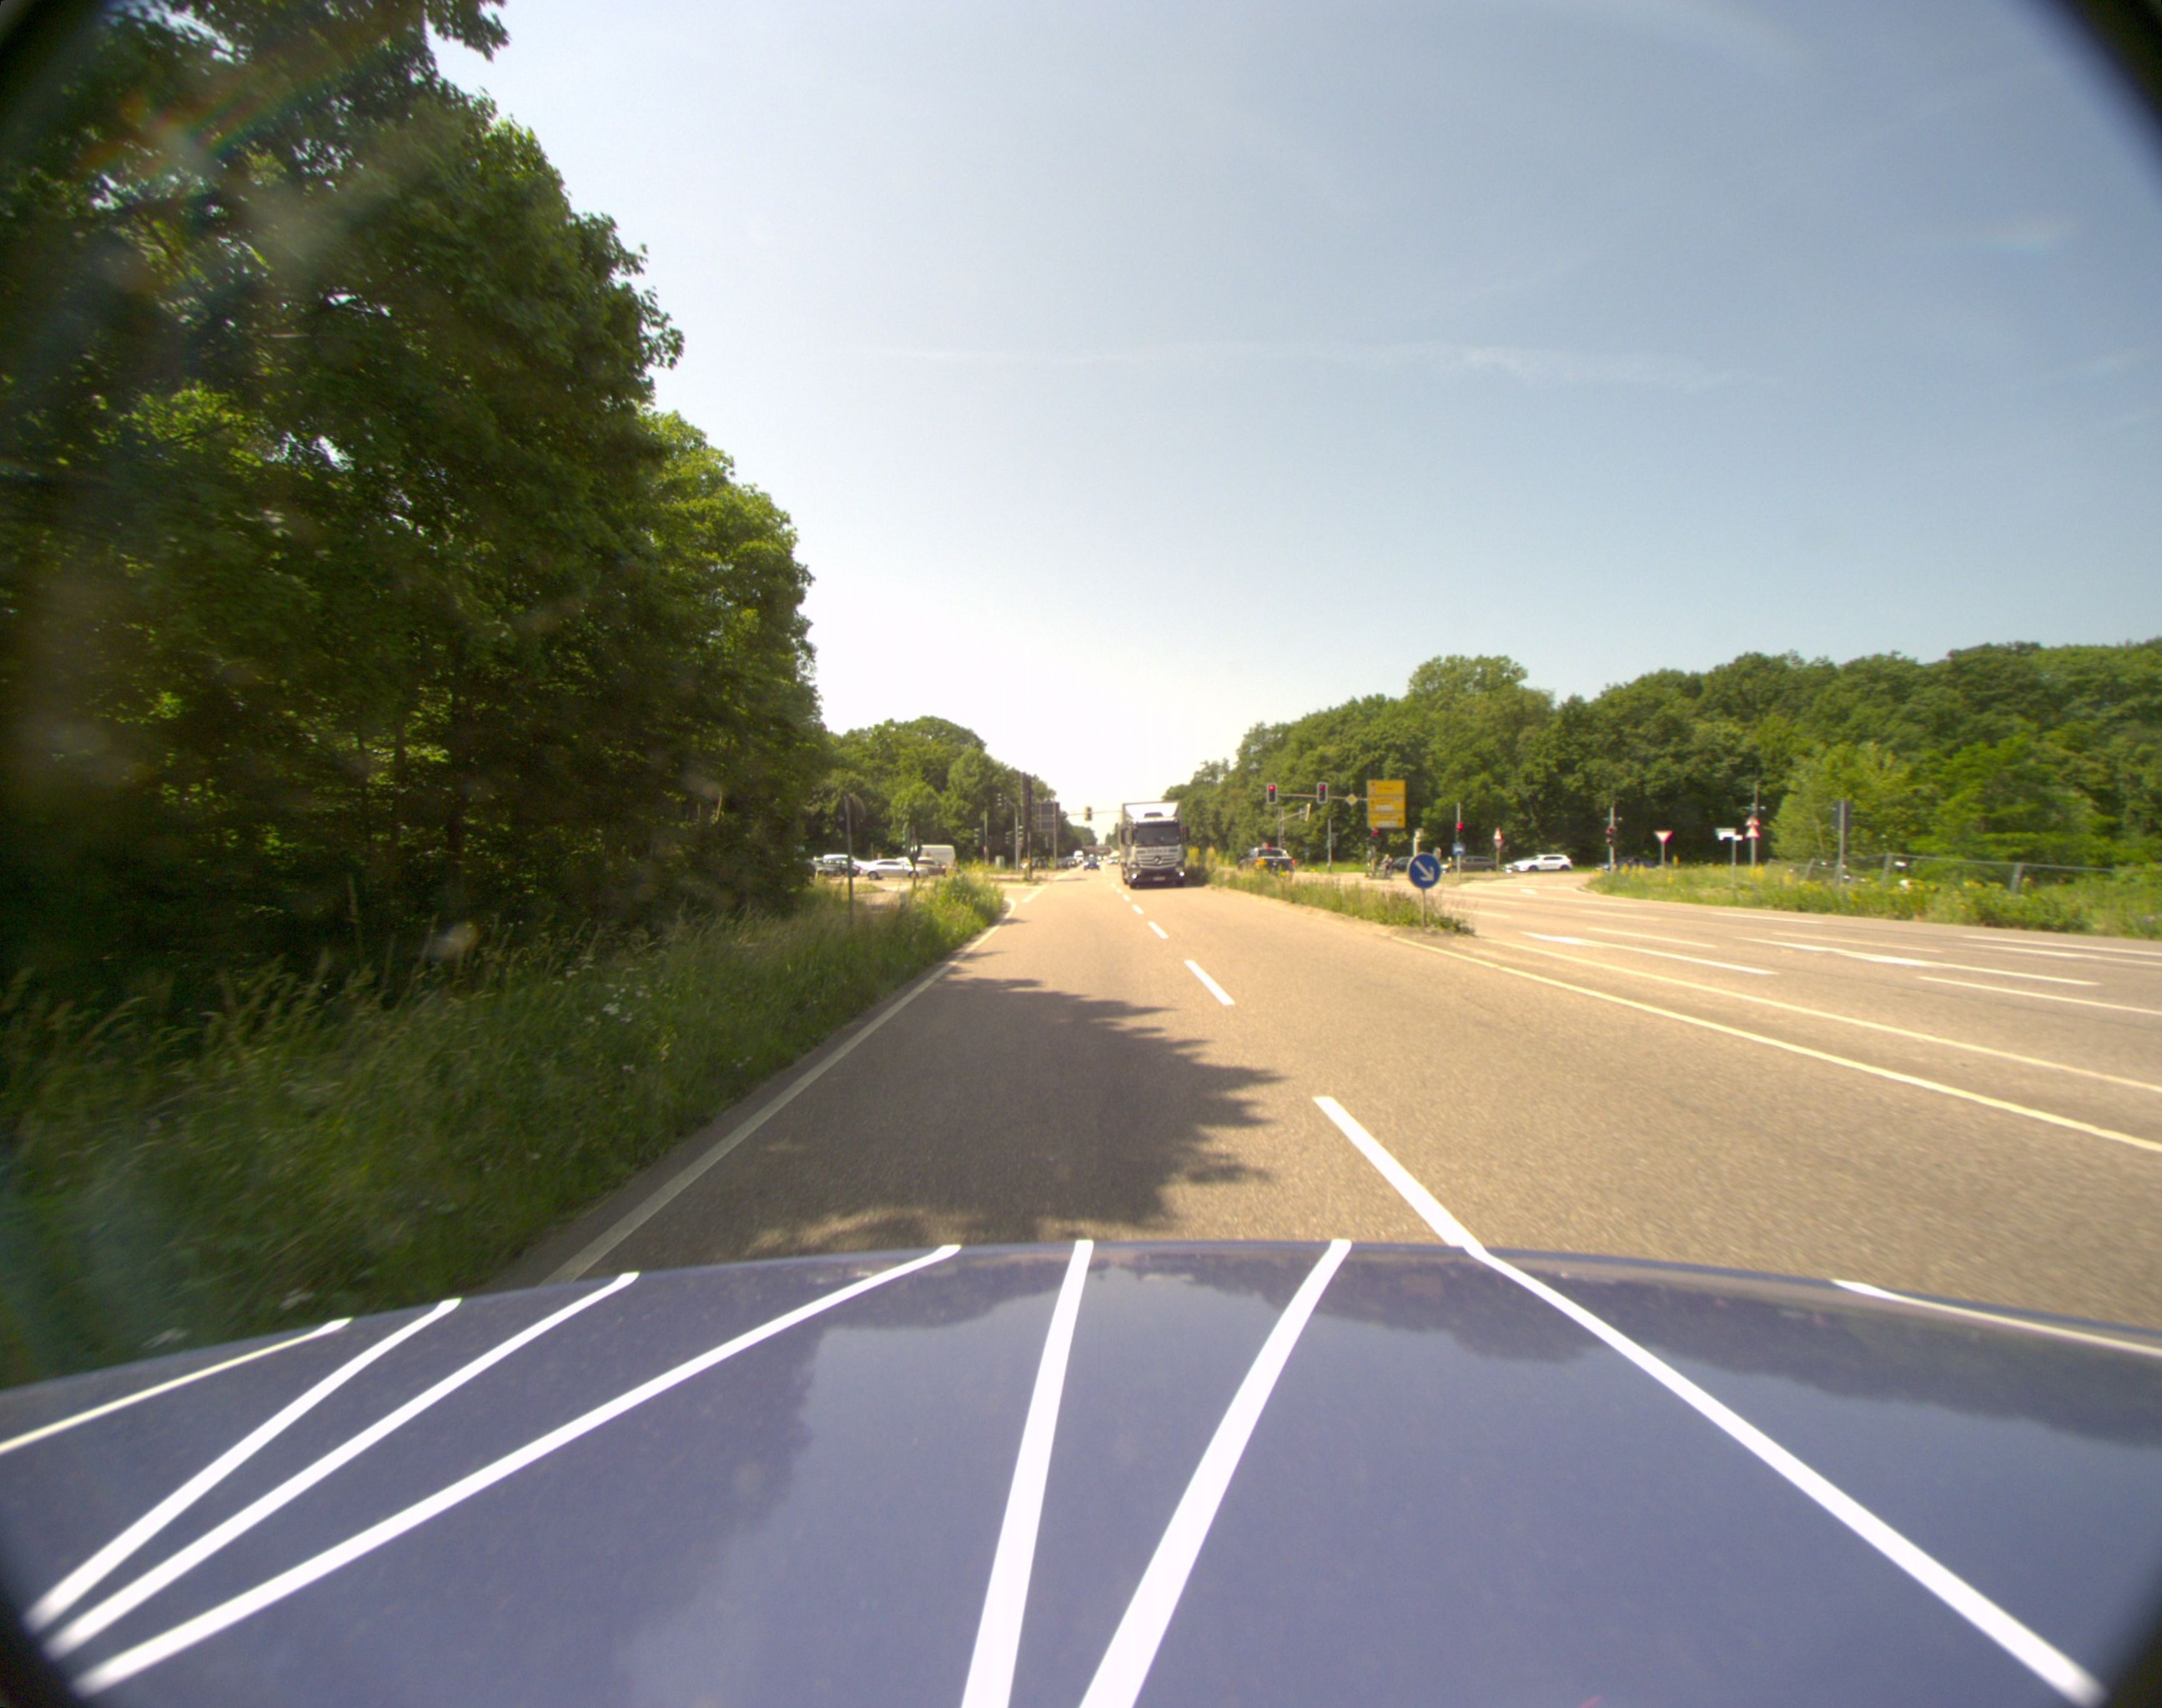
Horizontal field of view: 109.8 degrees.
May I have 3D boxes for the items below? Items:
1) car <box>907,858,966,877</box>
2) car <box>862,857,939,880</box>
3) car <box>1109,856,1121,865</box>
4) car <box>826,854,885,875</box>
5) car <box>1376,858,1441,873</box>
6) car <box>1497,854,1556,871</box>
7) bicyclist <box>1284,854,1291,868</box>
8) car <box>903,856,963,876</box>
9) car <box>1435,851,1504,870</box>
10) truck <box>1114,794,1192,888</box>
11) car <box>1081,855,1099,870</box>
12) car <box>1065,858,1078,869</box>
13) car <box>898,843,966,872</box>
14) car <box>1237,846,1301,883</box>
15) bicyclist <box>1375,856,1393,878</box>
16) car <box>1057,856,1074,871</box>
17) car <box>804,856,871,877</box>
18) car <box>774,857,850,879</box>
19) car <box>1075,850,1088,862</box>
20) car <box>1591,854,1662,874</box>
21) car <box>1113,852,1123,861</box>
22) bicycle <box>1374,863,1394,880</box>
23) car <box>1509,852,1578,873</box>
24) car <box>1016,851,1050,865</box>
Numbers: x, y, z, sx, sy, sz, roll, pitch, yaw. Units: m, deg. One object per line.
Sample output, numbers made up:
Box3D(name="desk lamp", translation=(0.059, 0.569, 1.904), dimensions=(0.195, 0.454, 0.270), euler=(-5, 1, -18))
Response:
Box3D(name="car", translation=(-10.842, 1.001, 57.329), dimensions=(4.102, 1.438, 1.995), euler=(0, 0, -1))
Box3D(name="car", translation=(-12.725, 1.026, 53.787), dimensions=(4.943, 1.490, 2.020), euler=(0, 1, 2))
Box3D(name="car", translation=(5.919, 1.100, 131.424), dimensions=(1.998, 1.543, 4.000), euler=(0, 0, 1))
Box3D(name="car", translation=(-18.100, 0.842, 61.092), dimensions=(4.182, 1.649, 2.000), euler=(0, 0, 1))
Box3D(name="car", translation=(28.816, 0.983, 66.935), dimensions=(4.816, 1.283, 2.106), euler=(0, 0, 2))
Box3D(name="car", translation=(41.154, 0.773, 70.246), dimensions=(4.409, 1.626, 1.872), euler=(0, 0, 0))
Box3D(name="bicyclist", translation=(21.616, 0.712, 79.686), dimensions=(0.660, 1.456, 0.810), euler=(0, 0, 10))
Box3D(name="car", translation=(-11.879, 0.966, 61.209), dimensions=(4.430, 1.526, 2.000), euler=(0, 0, 0))
Box3D(name="car", translation=(32.022, 0.506, 62.712), dimensions=(4.817, 1.509, 1.862), euler=(0, 0, 0))
Box3D(name="truck", translation=(3.269, -0.547, 37.613), dimensions=(2.753, 3.862, 11.320), euler=(-2, 0, 0))
Box3D(name="car", translation=(0.975, 0.909, 84.738), dimensions=(1.992, 1.575, 4.364), euler=(-1, 0, 0))
Box3D(name="car", translation=(-1.297, 1.340, 107.148), dimensions=(1.796, 1.431, 4.228), euler=(-1, 0, 0))
Box3D(name="car", translation=(-14.297, 0.315, 73.173), dimensions=(6.070, 2.629, 1.971), euler=(-2, 0, -35))
Box3D(name="car", translation=(9.241, 0.497, 37.747), dimensions=(1.998, 1.668, 5.366), euler=(1, 0, 2))
Box3D(name="bicyclist", translation=(19.563, 0.824, 49.044), dimensions=(0.924, 1.451, 0.718), euler=(0, 1, 39))
Box3D(name="car", translation=(-1.907, 1.143, 93.957), dimensions=(1.740, 1.681, 3.736), euler=(-2, 0, 2))
Box3D(name="car", translation=(-18.552, 0.943, 58.037), dimensions=(4.430, 1.526, 2.122), euler=(0, 1, 1))
Box3D(name="car", translation=(-19.206, 0.997, 54.345), dimensions=(4.628, 1.490, 2.112), euler=(0, 1, 2))
Box3D(name="car", translation=(0.092, 0.390, 170.352), dimensions=(2.673, 2.685, 6.331), euler=(0, 0, 3))
Box3D(name="car", translation=(47.748, 0.860, 66.559), dimensions=(4.817, 1.747, 2.000), euler=(0, 0, 0))
Box3D(name="car", translation=(7.743, 0.552, 159.776), dimensions=(1.998, 1.867, 4.000), euler=(0, 0, 1))
Box3D(name="bicycle", translation=(19.559, 1.100, 49.034), dimensions=(0.722, 1.057, 1.873), euler=(0, 0, 39))
Box3D(name="car", translation=(40.604, 0.734, 66.799), dimensions=(4.816, 1.884, 2.066), euler=(0, 0, 2))
Box3D(name="car", translation=(-5.212, 0.407, 83.327), dimensions=(1.793, 1.452, 4.237), euler=(1, 0, 27))
